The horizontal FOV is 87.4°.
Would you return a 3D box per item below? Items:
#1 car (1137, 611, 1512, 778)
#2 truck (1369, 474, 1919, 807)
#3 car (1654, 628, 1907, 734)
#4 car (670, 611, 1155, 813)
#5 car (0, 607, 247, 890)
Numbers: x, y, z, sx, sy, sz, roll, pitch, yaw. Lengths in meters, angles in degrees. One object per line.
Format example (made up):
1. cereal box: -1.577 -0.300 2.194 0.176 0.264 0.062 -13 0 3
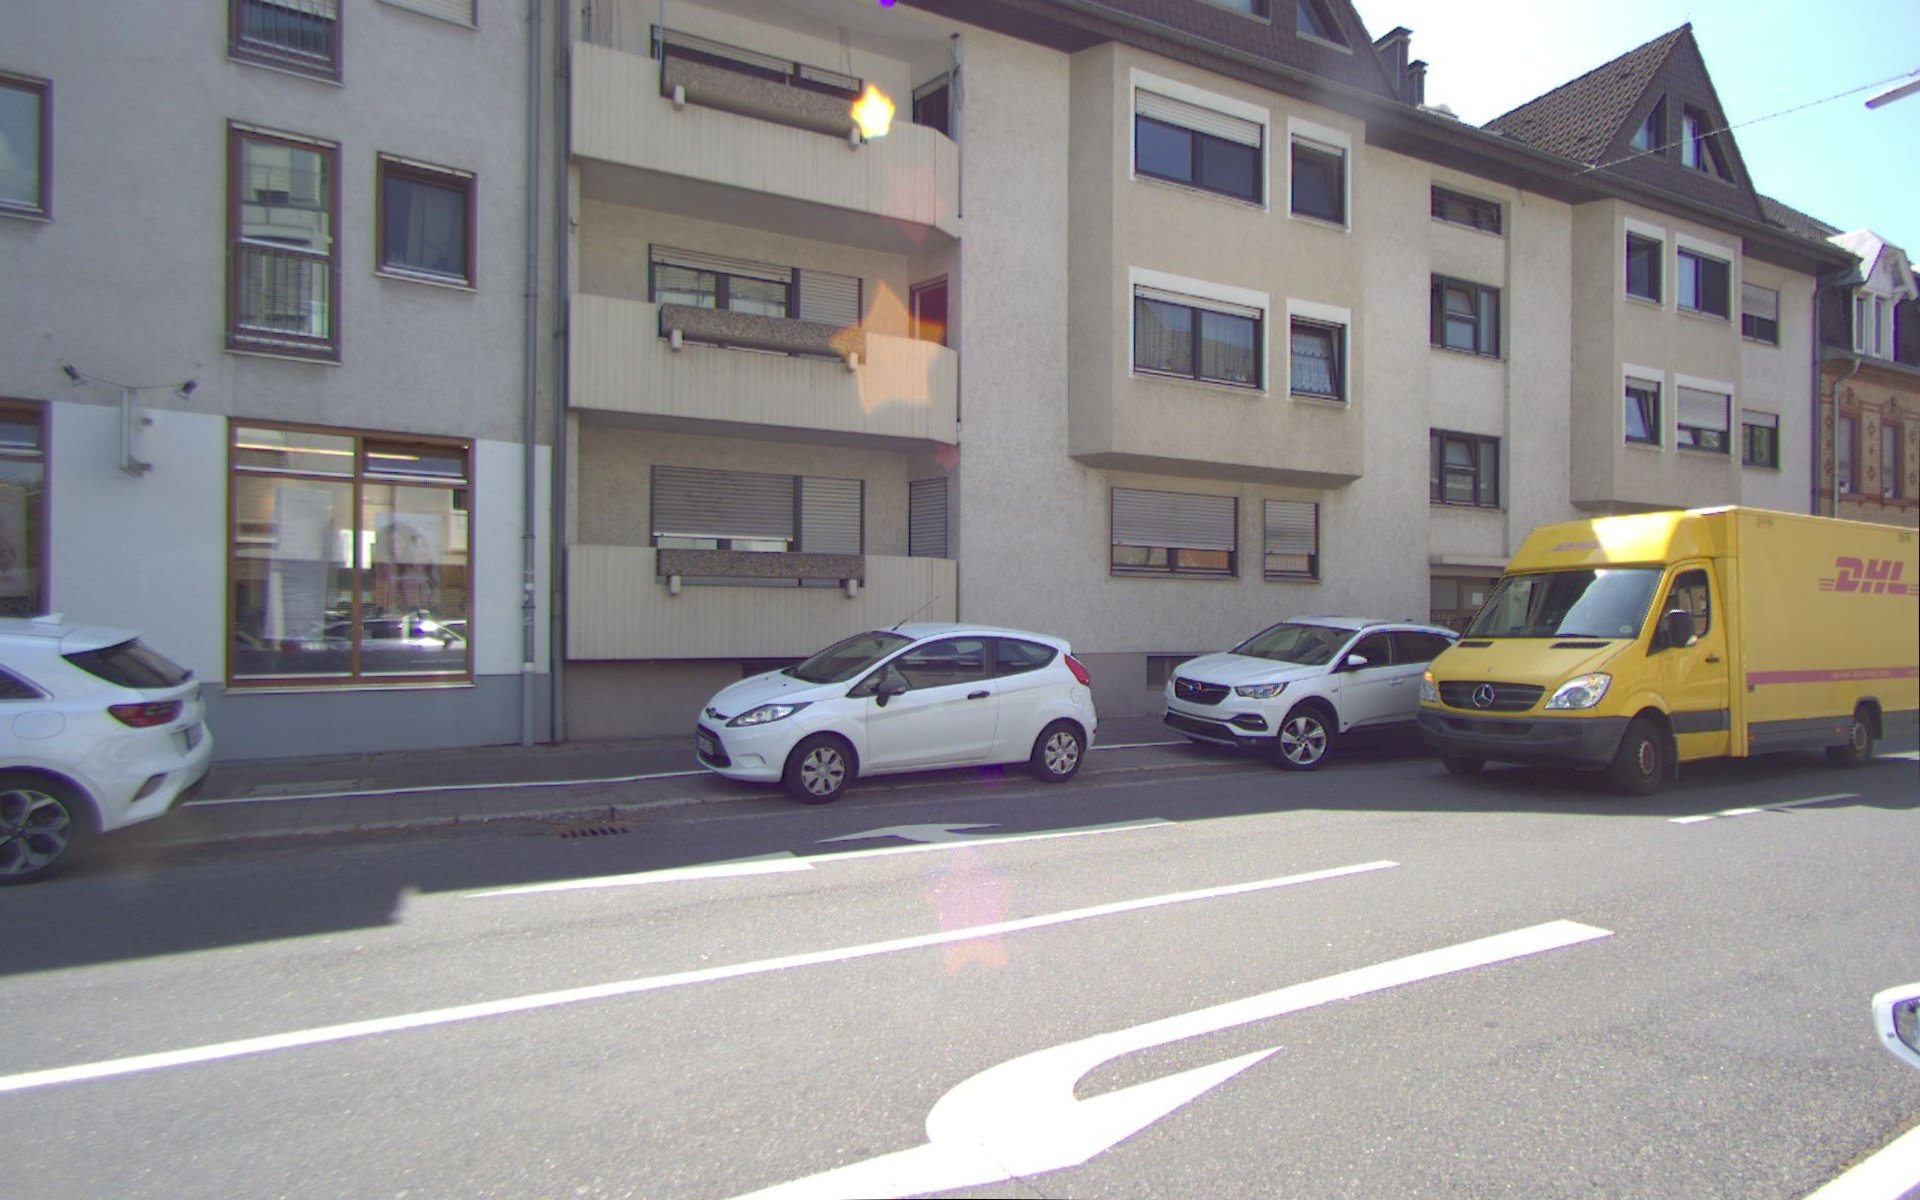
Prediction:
1. car: 4.422 1.019 12.051 4.334 1.617 1.831 2 1 -30
2. truck: 8.061 0.452 11.224 7.469 2.807 2.217 1 -3 -28
3. car: 13.997 1.307 17.093 4.449 1.508 1.831 2 1 -30
4. car: -0.398 0.941 9.760 4.334 1.509 1.831 2 1 -30
5. car: -6.877 0.811 5.780 4.335 1.509 1.830 2 1 -31
